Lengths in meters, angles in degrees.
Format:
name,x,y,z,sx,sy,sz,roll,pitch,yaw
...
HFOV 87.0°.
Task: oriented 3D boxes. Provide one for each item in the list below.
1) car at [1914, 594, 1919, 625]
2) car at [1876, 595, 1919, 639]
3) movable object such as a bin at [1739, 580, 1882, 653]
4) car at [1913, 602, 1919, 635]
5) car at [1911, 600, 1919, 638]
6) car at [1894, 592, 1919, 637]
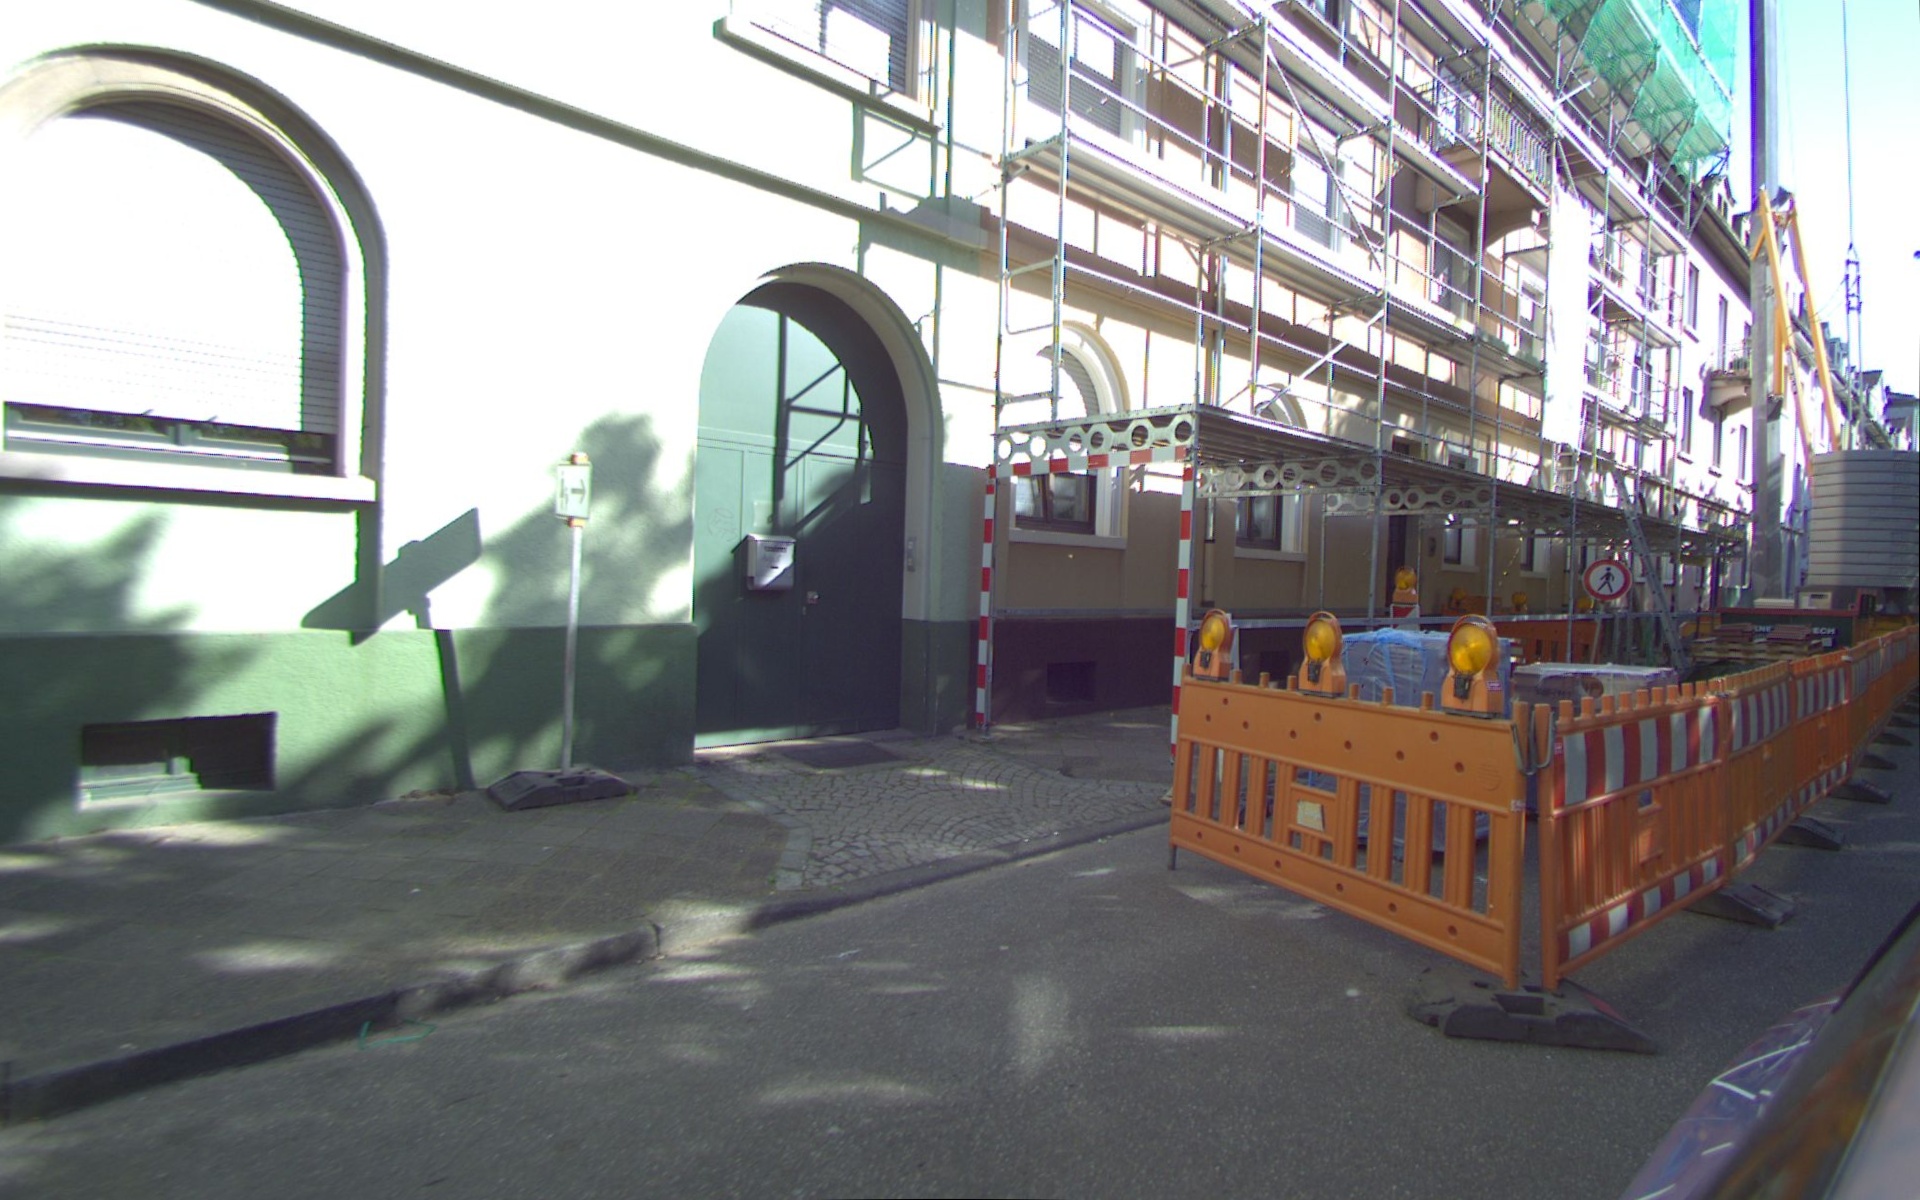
name,x,y,z,sx,sy,sz,roll,pitch,yaw
car,47.619,0.491,49.225,3.347,1.473,1.575,0,2,-44
car,33.198,0.576,35.365,1.667,1.445,3.911,3,2,43
movable object such as a bin,19.552,0.347,23.336,1.594,1.545,1.881,1,1,-8
car,44.039,0.851,45.478,3.547,1.454,1.575,0,2,-44
car,40.970,0.796,42.253,3.547,1.531,1.668,0,2,-44
car,36.707,0.548,38.338,4.203,1.619,1.668,0,2,-44
